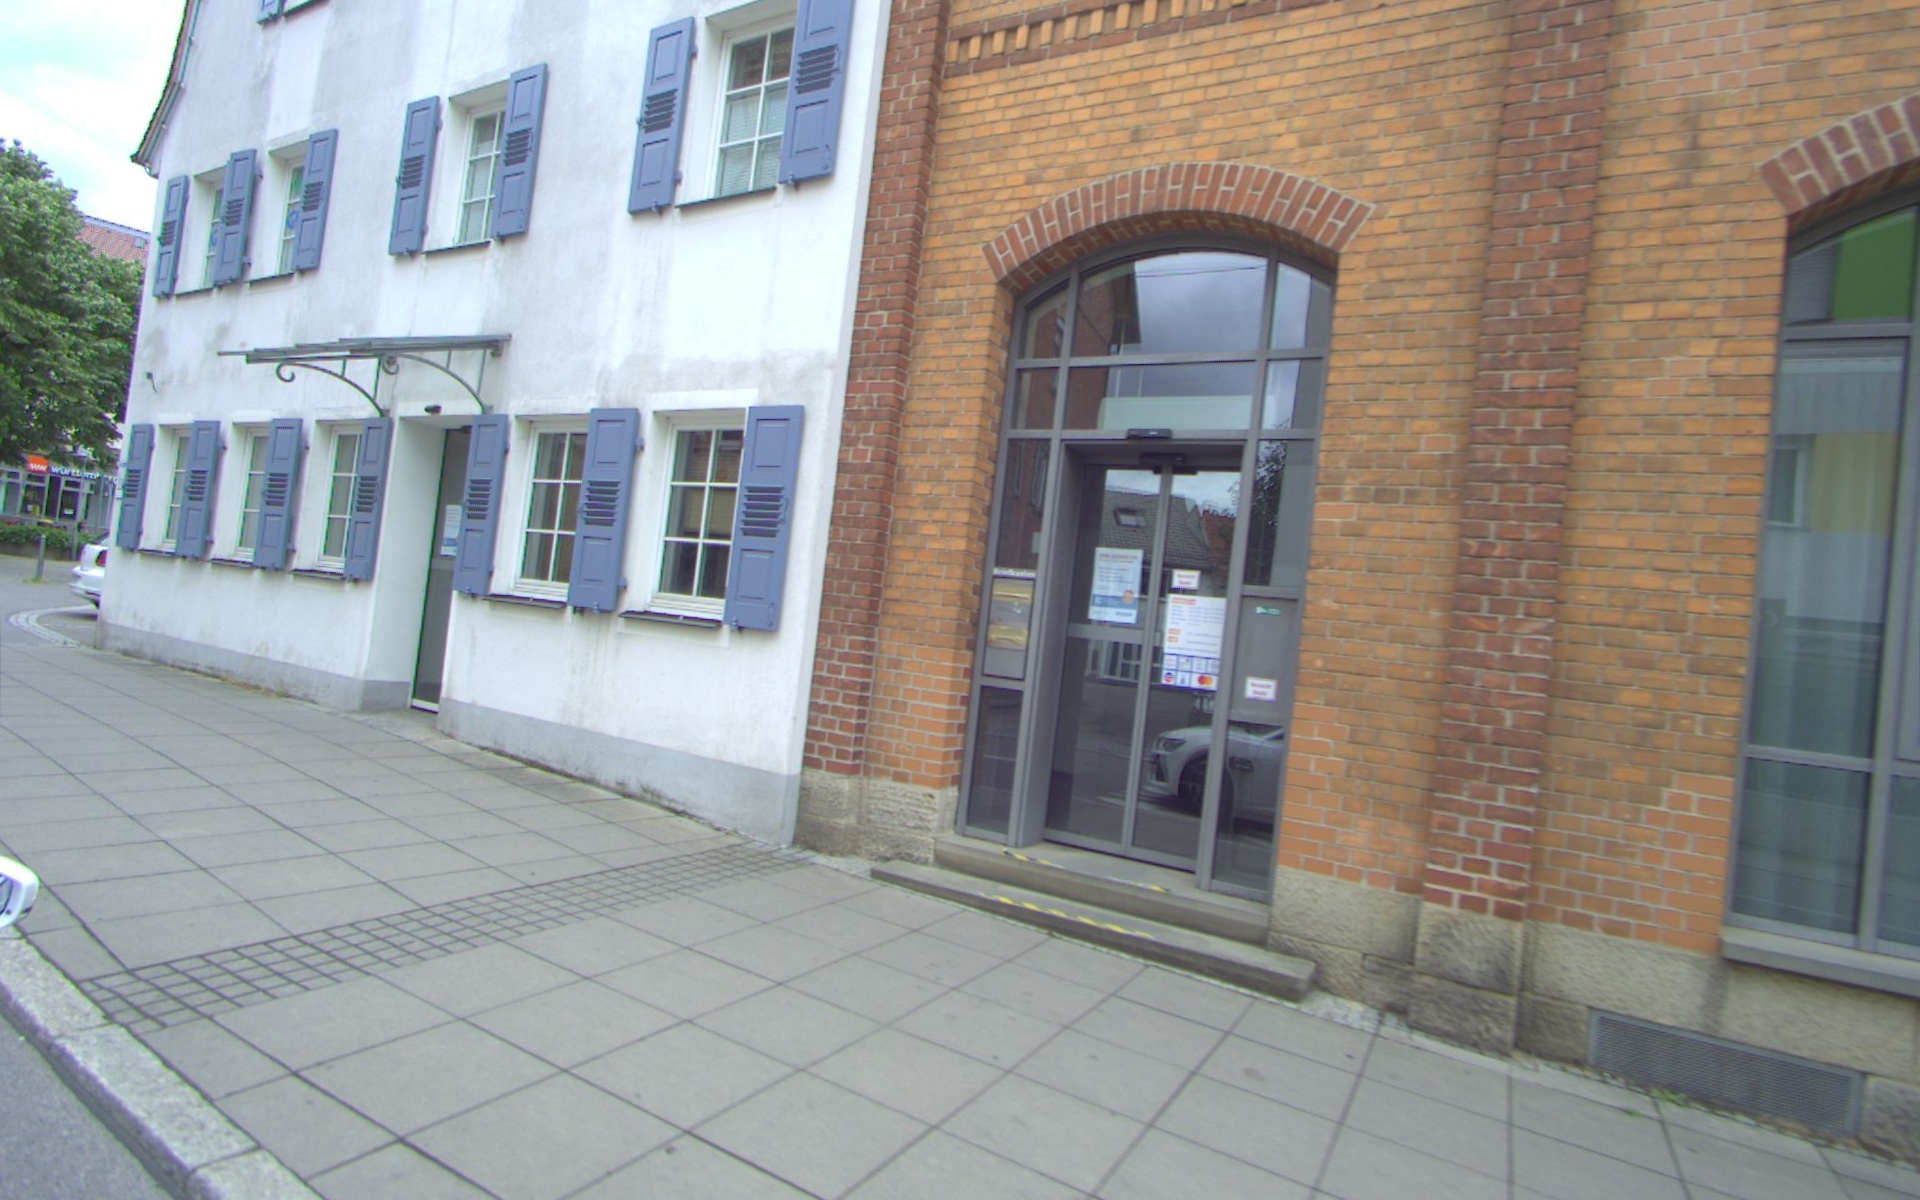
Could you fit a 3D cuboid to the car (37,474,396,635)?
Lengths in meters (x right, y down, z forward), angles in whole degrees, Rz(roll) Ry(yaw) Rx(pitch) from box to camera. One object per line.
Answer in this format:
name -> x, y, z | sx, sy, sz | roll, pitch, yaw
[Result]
car -> -11.592, -0.631, 15.969 | 1.967, 1.858, 3.995 | 7, -2, 31
